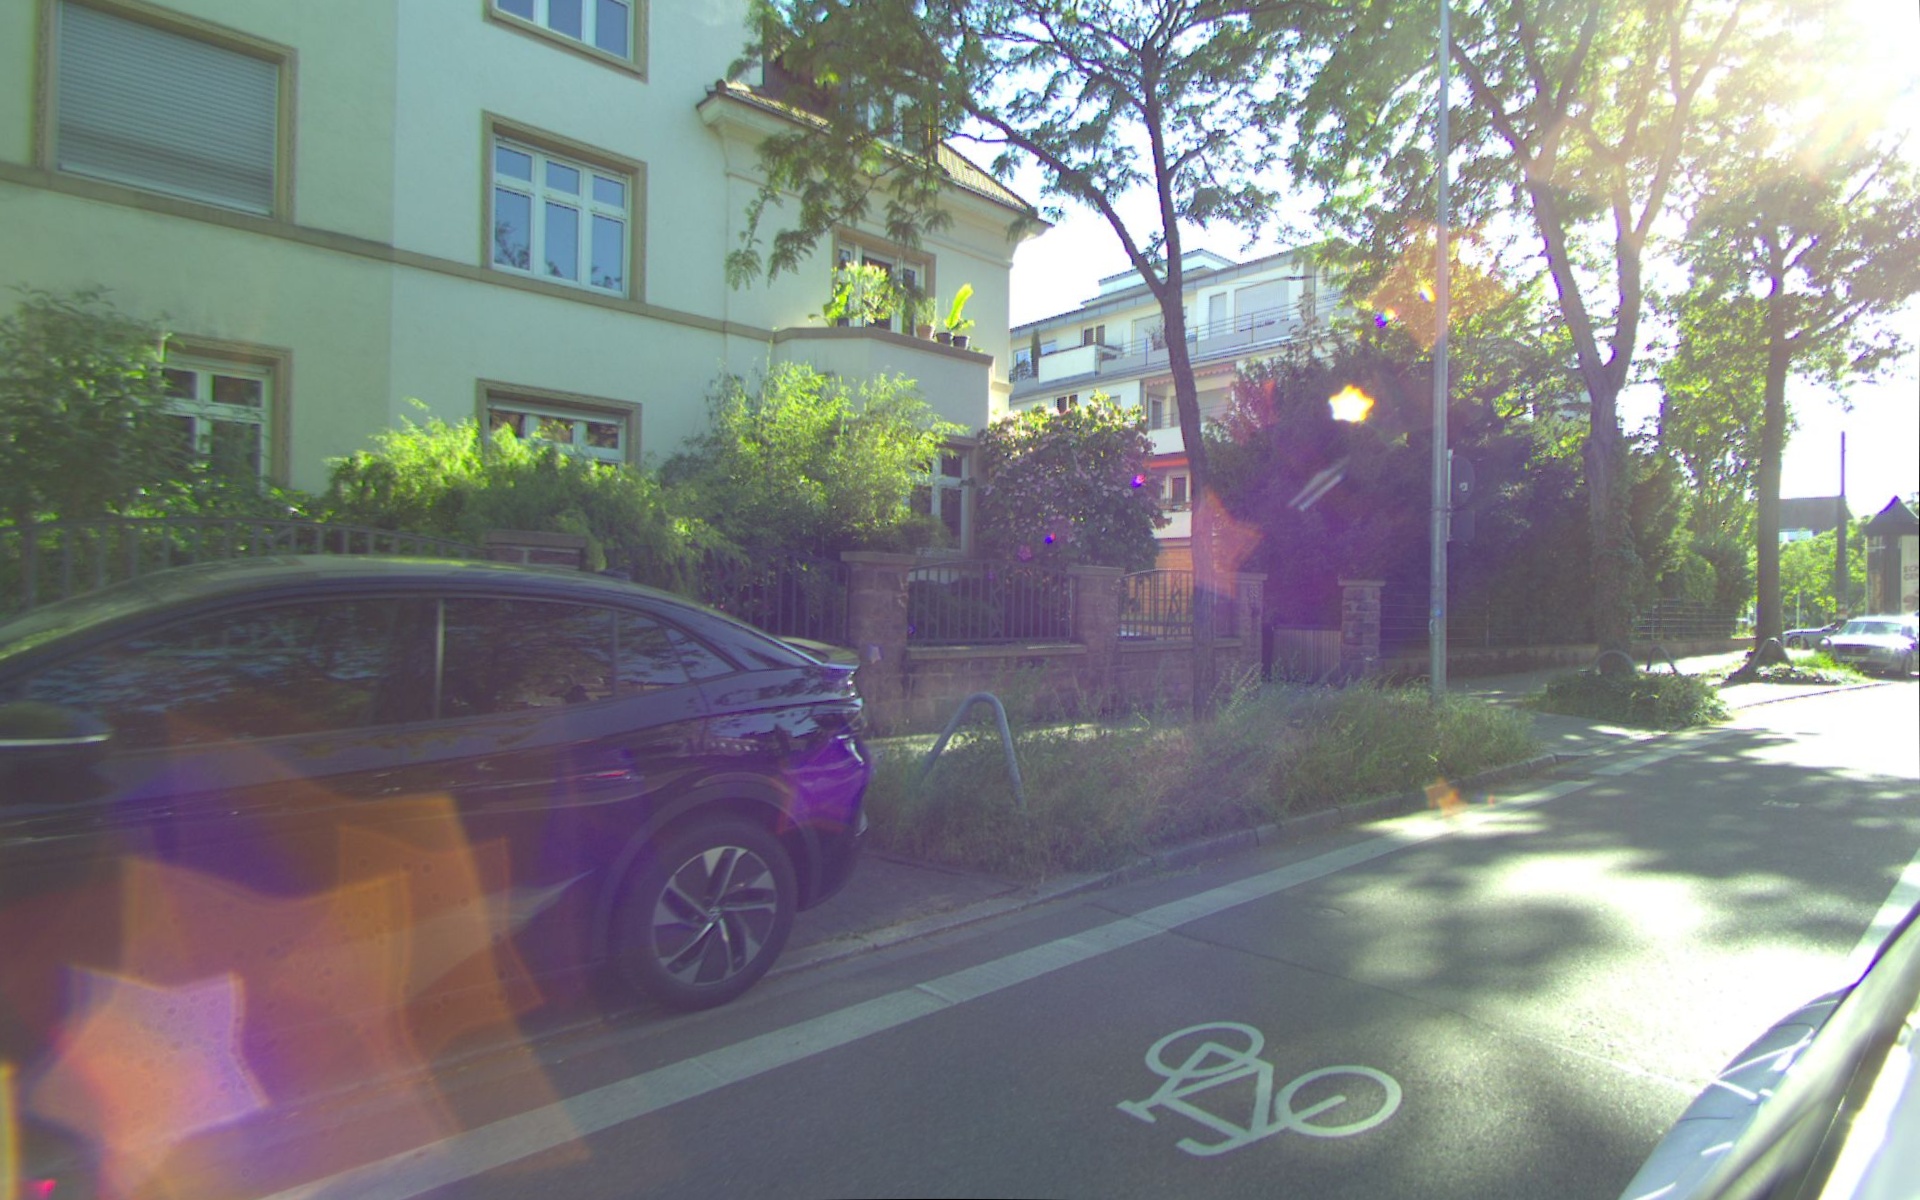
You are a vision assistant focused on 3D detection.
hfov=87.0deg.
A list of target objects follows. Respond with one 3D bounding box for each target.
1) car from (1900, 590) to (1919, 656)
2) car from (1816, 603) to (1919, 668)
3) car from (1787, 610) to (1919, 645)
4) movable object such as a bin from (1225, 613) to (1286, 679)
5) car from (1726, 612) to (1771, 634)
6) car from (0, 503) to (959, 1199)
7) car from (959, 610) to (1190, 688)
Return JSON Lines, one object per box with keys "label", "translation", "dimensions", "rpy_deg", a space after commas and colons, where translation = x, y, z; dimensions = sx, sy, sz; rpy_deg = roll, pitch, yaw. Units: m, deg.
{"label": "car", "translation": [28.127, 0.648, 28.167], "dimensions": [4.662, 1.769, 2.029], "rpy_deg": [1, 0, -36]}
{"label": "car", "translation": [23.108, 0.809, 25.082], "dimensions": [4.251, 1.441, 1.999], "rpy_deg": [0, 1, -37]}
{"label": "car", "translation": [38.622, 1.132, 43.461], "dimensions": [1.933, 1.386, 4.521], "rpy_deg": [1, 0, -38]}
{"label": "movable object such as a bin", "translation": [5.160, 0.785, 17.663], "dimensions": [0.717, 1.112, 0.748], "rpy_deg": [1, 0, -40]}
{"label": "car", "translation": [68.624, 1.966, 88.080], "dimensions": [3.923, 1.819, 2.001], "rpy_deg": [1, 0, -34]}
{"label": "car", "translation": [-2.388, 0.569, 3.590], "dimensions": [4.644, 1.714, 1.809], "rpy_deg": [1, 3, -40]}
{"label": "car", "translation": [2.016, 0.820, 18.518], "dimensions": [3.986, 1.225, 1.741], "rpy_deg": [0, 0, 43]}
